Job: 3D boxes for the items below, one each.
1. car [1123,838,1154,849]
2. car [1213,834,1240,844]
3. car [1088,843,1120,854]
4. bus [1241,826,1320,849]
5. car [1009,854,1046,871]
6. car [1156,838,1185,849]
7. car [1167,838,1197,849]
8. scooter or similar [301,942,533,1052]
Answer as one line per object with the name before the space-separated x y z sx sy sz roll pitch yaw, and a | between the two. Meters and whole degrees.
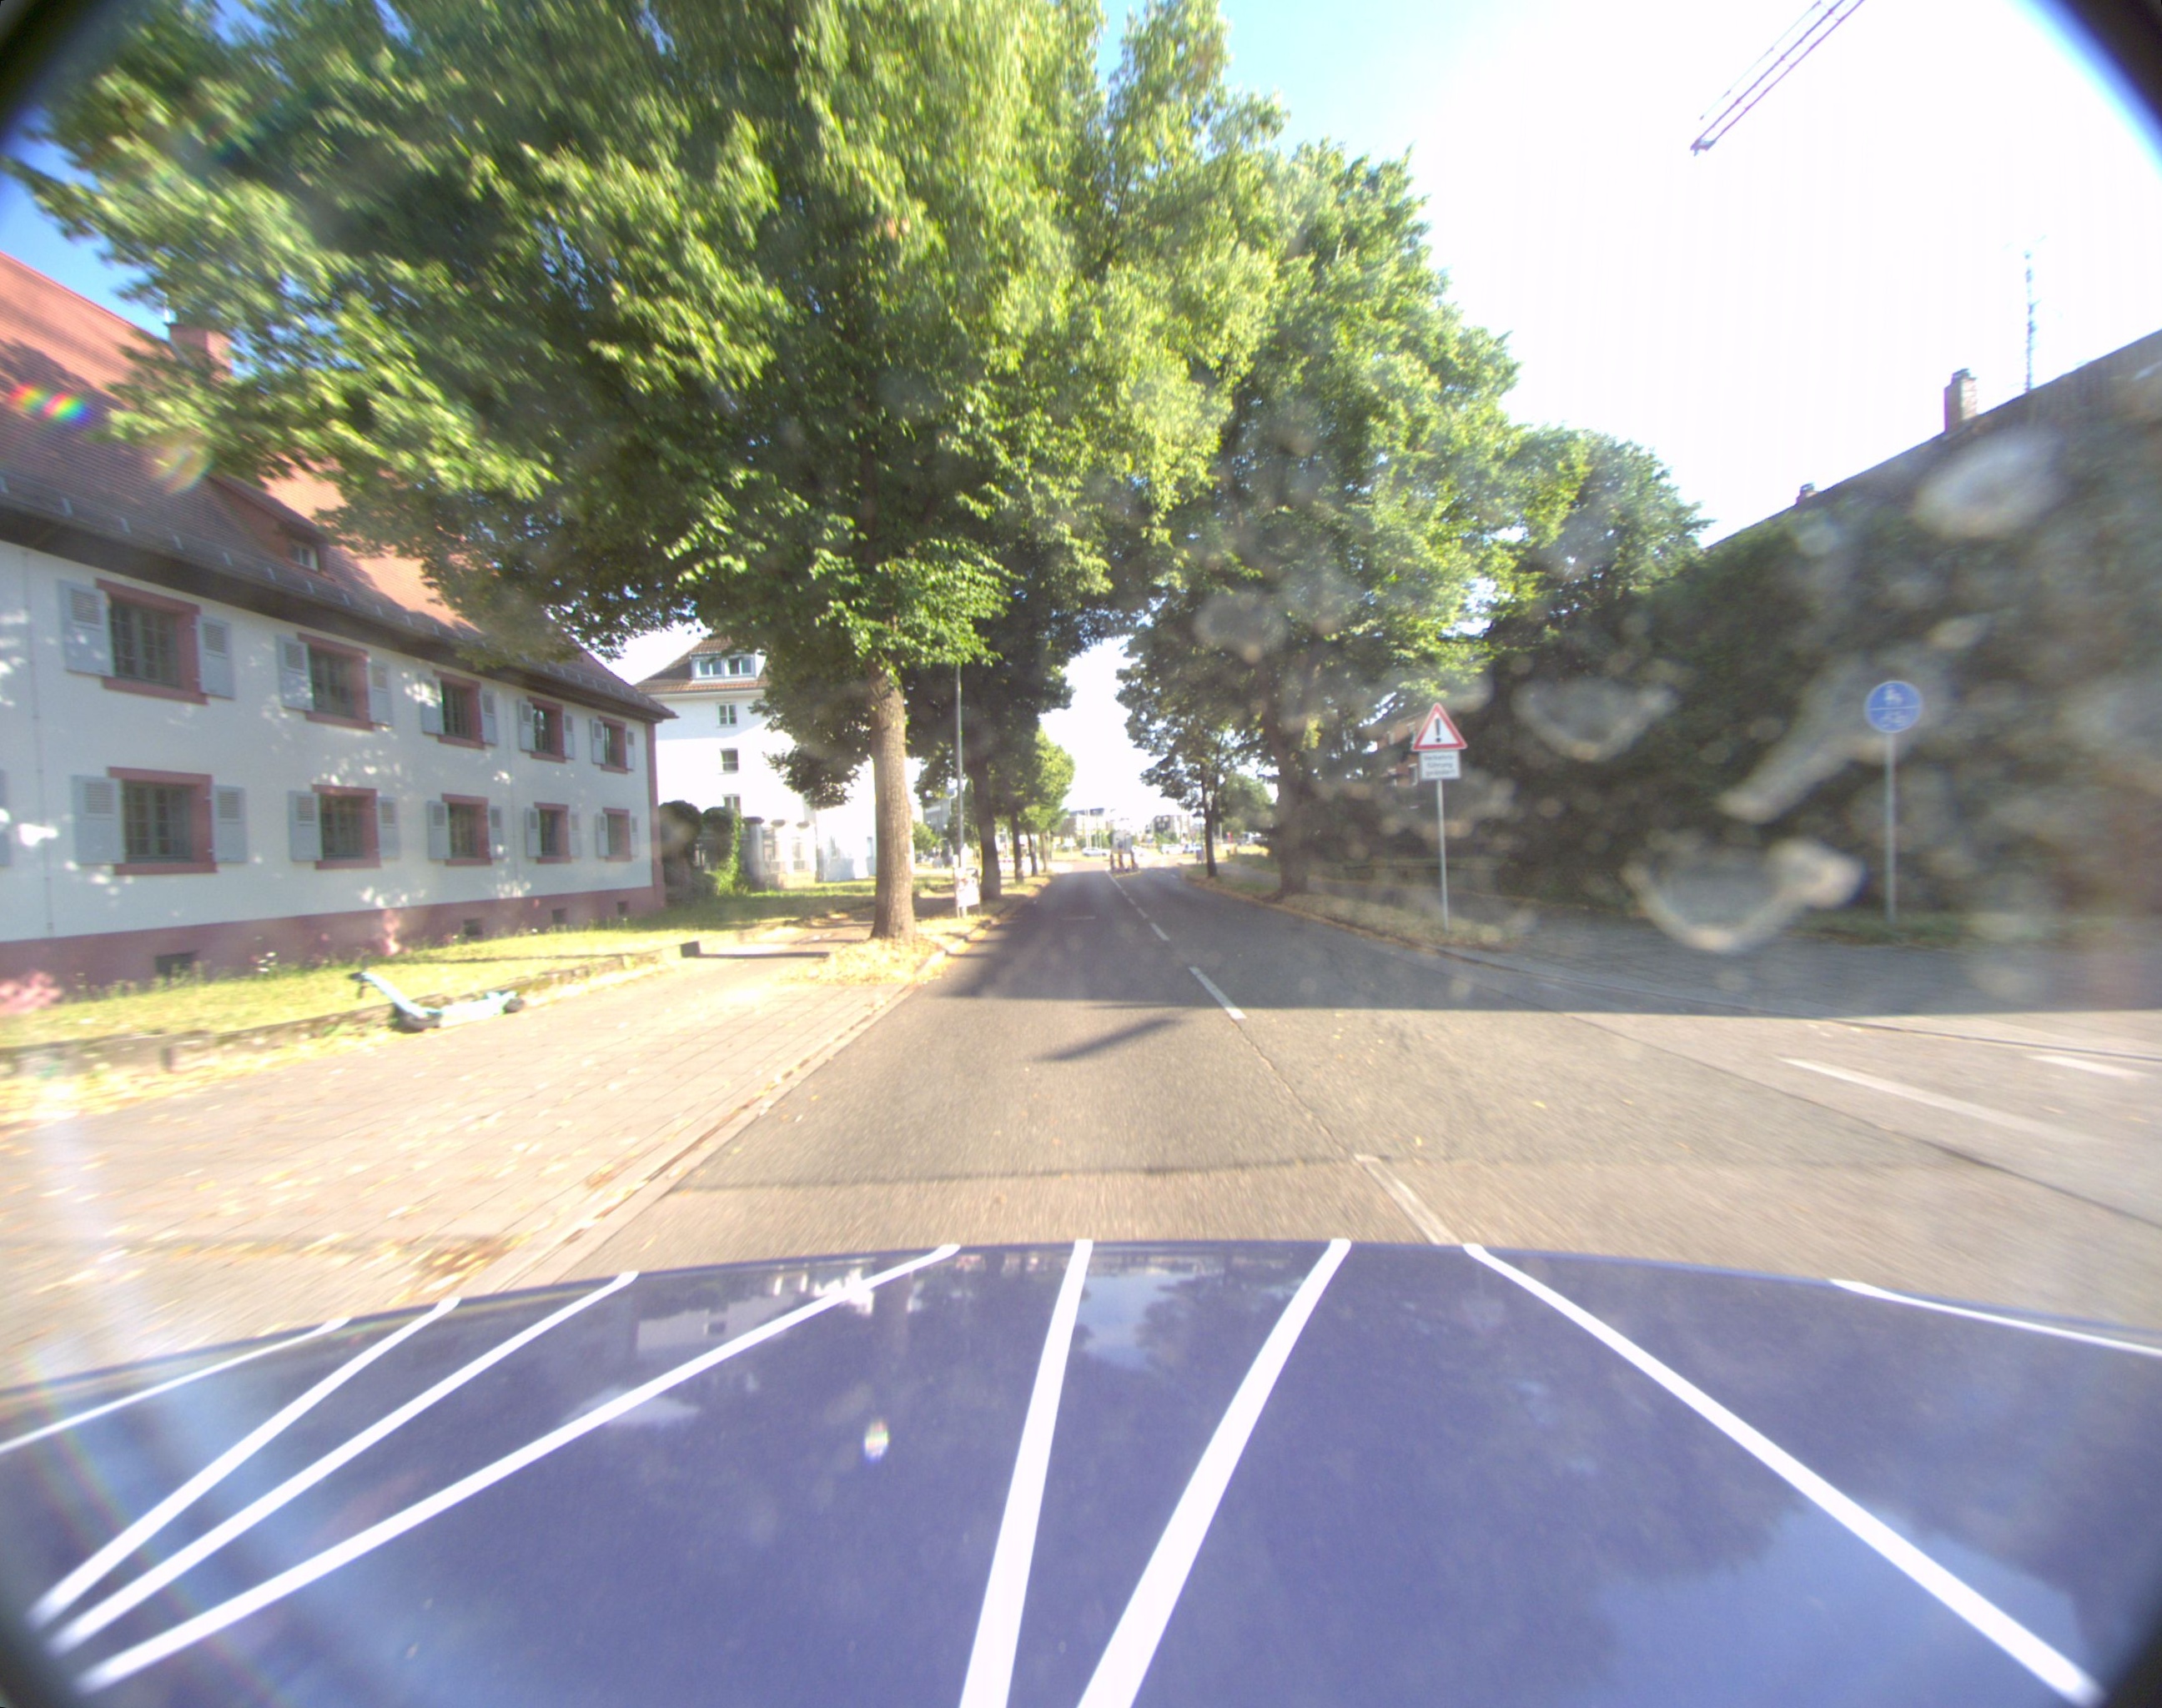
car | 8.303 -1.531 109.503 4.265 1.521 1.999 0 1 -3
car | 23.792 -2.493 124.524 4.004 1.521 1.775 -2 1 -22
car | 3.465 -0.873 114.458 4.584 1.376 2.095 -3 1 5
bus | 31.008 -2.561 117.991 12.185 3.044 2.662 -3 2 -16
car | -6.041 0.964 85.346 3.618 1.412 1.767 -9 -3 19
car | 13.745 -1.575 116.827 4.002 1.521 1.997 -2 1 -15
car | 15.163 -1.510 114.055 4.004 1.521 1.996 -2 1 -22
scooter or similar | -6.384 1.356 7.398 1.228 0.545 1.063 15 2 0
